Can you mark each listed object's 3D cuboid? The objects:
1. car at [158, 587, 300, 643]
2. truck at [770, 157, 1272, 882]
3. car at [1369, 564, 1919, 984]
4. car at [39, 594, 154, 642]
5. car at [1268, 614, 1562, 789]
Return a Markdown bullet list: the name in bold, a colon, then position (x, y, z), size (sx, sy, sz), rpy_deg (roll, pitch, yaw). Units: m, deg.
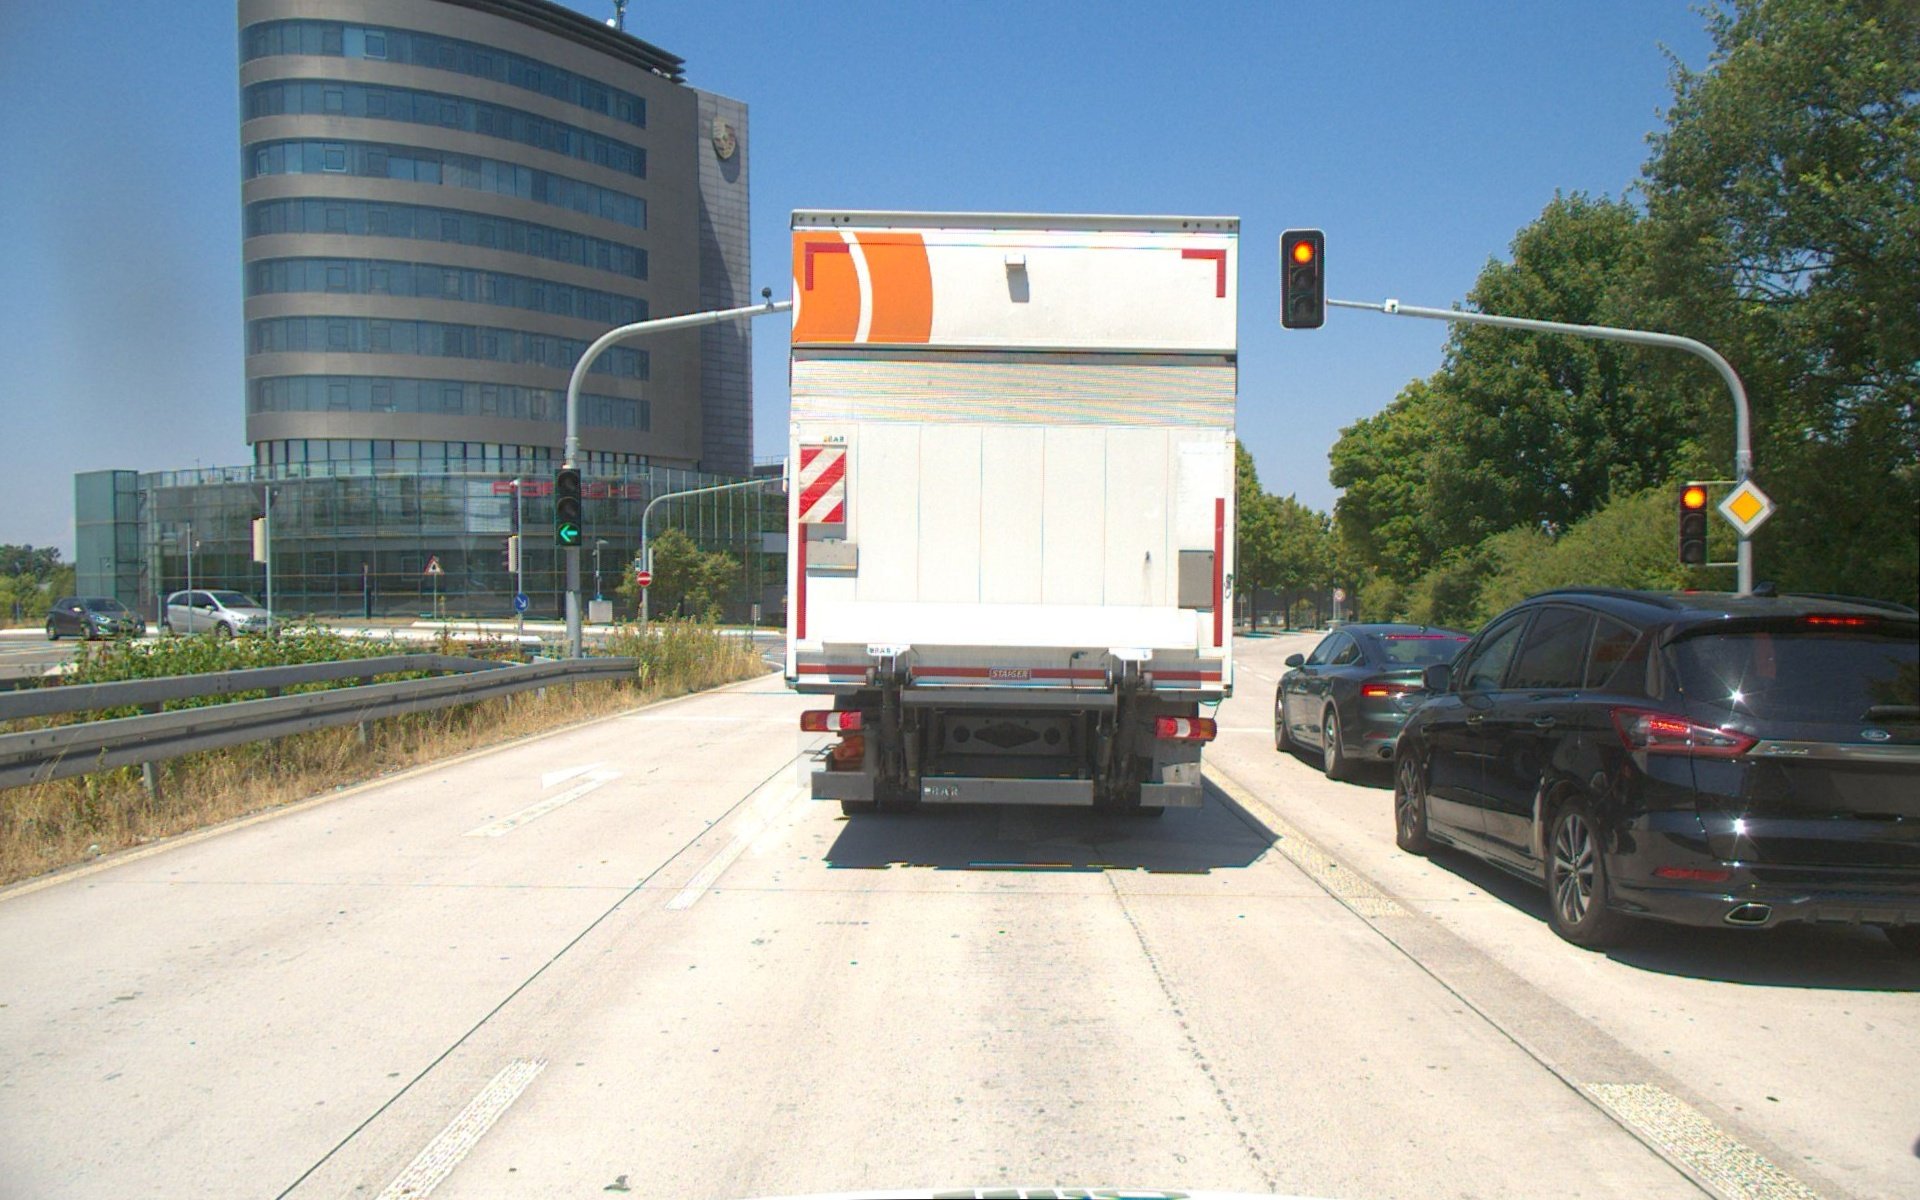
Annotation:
- **car**: position (-22.658, 0.502, 51.256), size (4.231, 1.623, 1.775), rpy_deg (-2, -2, 27)
- **truck**: position (0.349, -0.394, 13.664), size (2.713, 3.927, 9.369), rpy_deg (0, -1, 0)
- **car**: position (3.717, 0.727, 8.967), size (1.747, 1.668, 4.646), rpy_deg (1, -1, -1)
- **car**: position (-29.010, 0.634, 55.535), size (4.241, 1.482, 1.691), rpy_deg (-2, -2, 35)
- **car**: position (4.252, 0.874, 16.202), size (1.731, 1.435, 4.610), rpy_deg (1, -1, 2)
